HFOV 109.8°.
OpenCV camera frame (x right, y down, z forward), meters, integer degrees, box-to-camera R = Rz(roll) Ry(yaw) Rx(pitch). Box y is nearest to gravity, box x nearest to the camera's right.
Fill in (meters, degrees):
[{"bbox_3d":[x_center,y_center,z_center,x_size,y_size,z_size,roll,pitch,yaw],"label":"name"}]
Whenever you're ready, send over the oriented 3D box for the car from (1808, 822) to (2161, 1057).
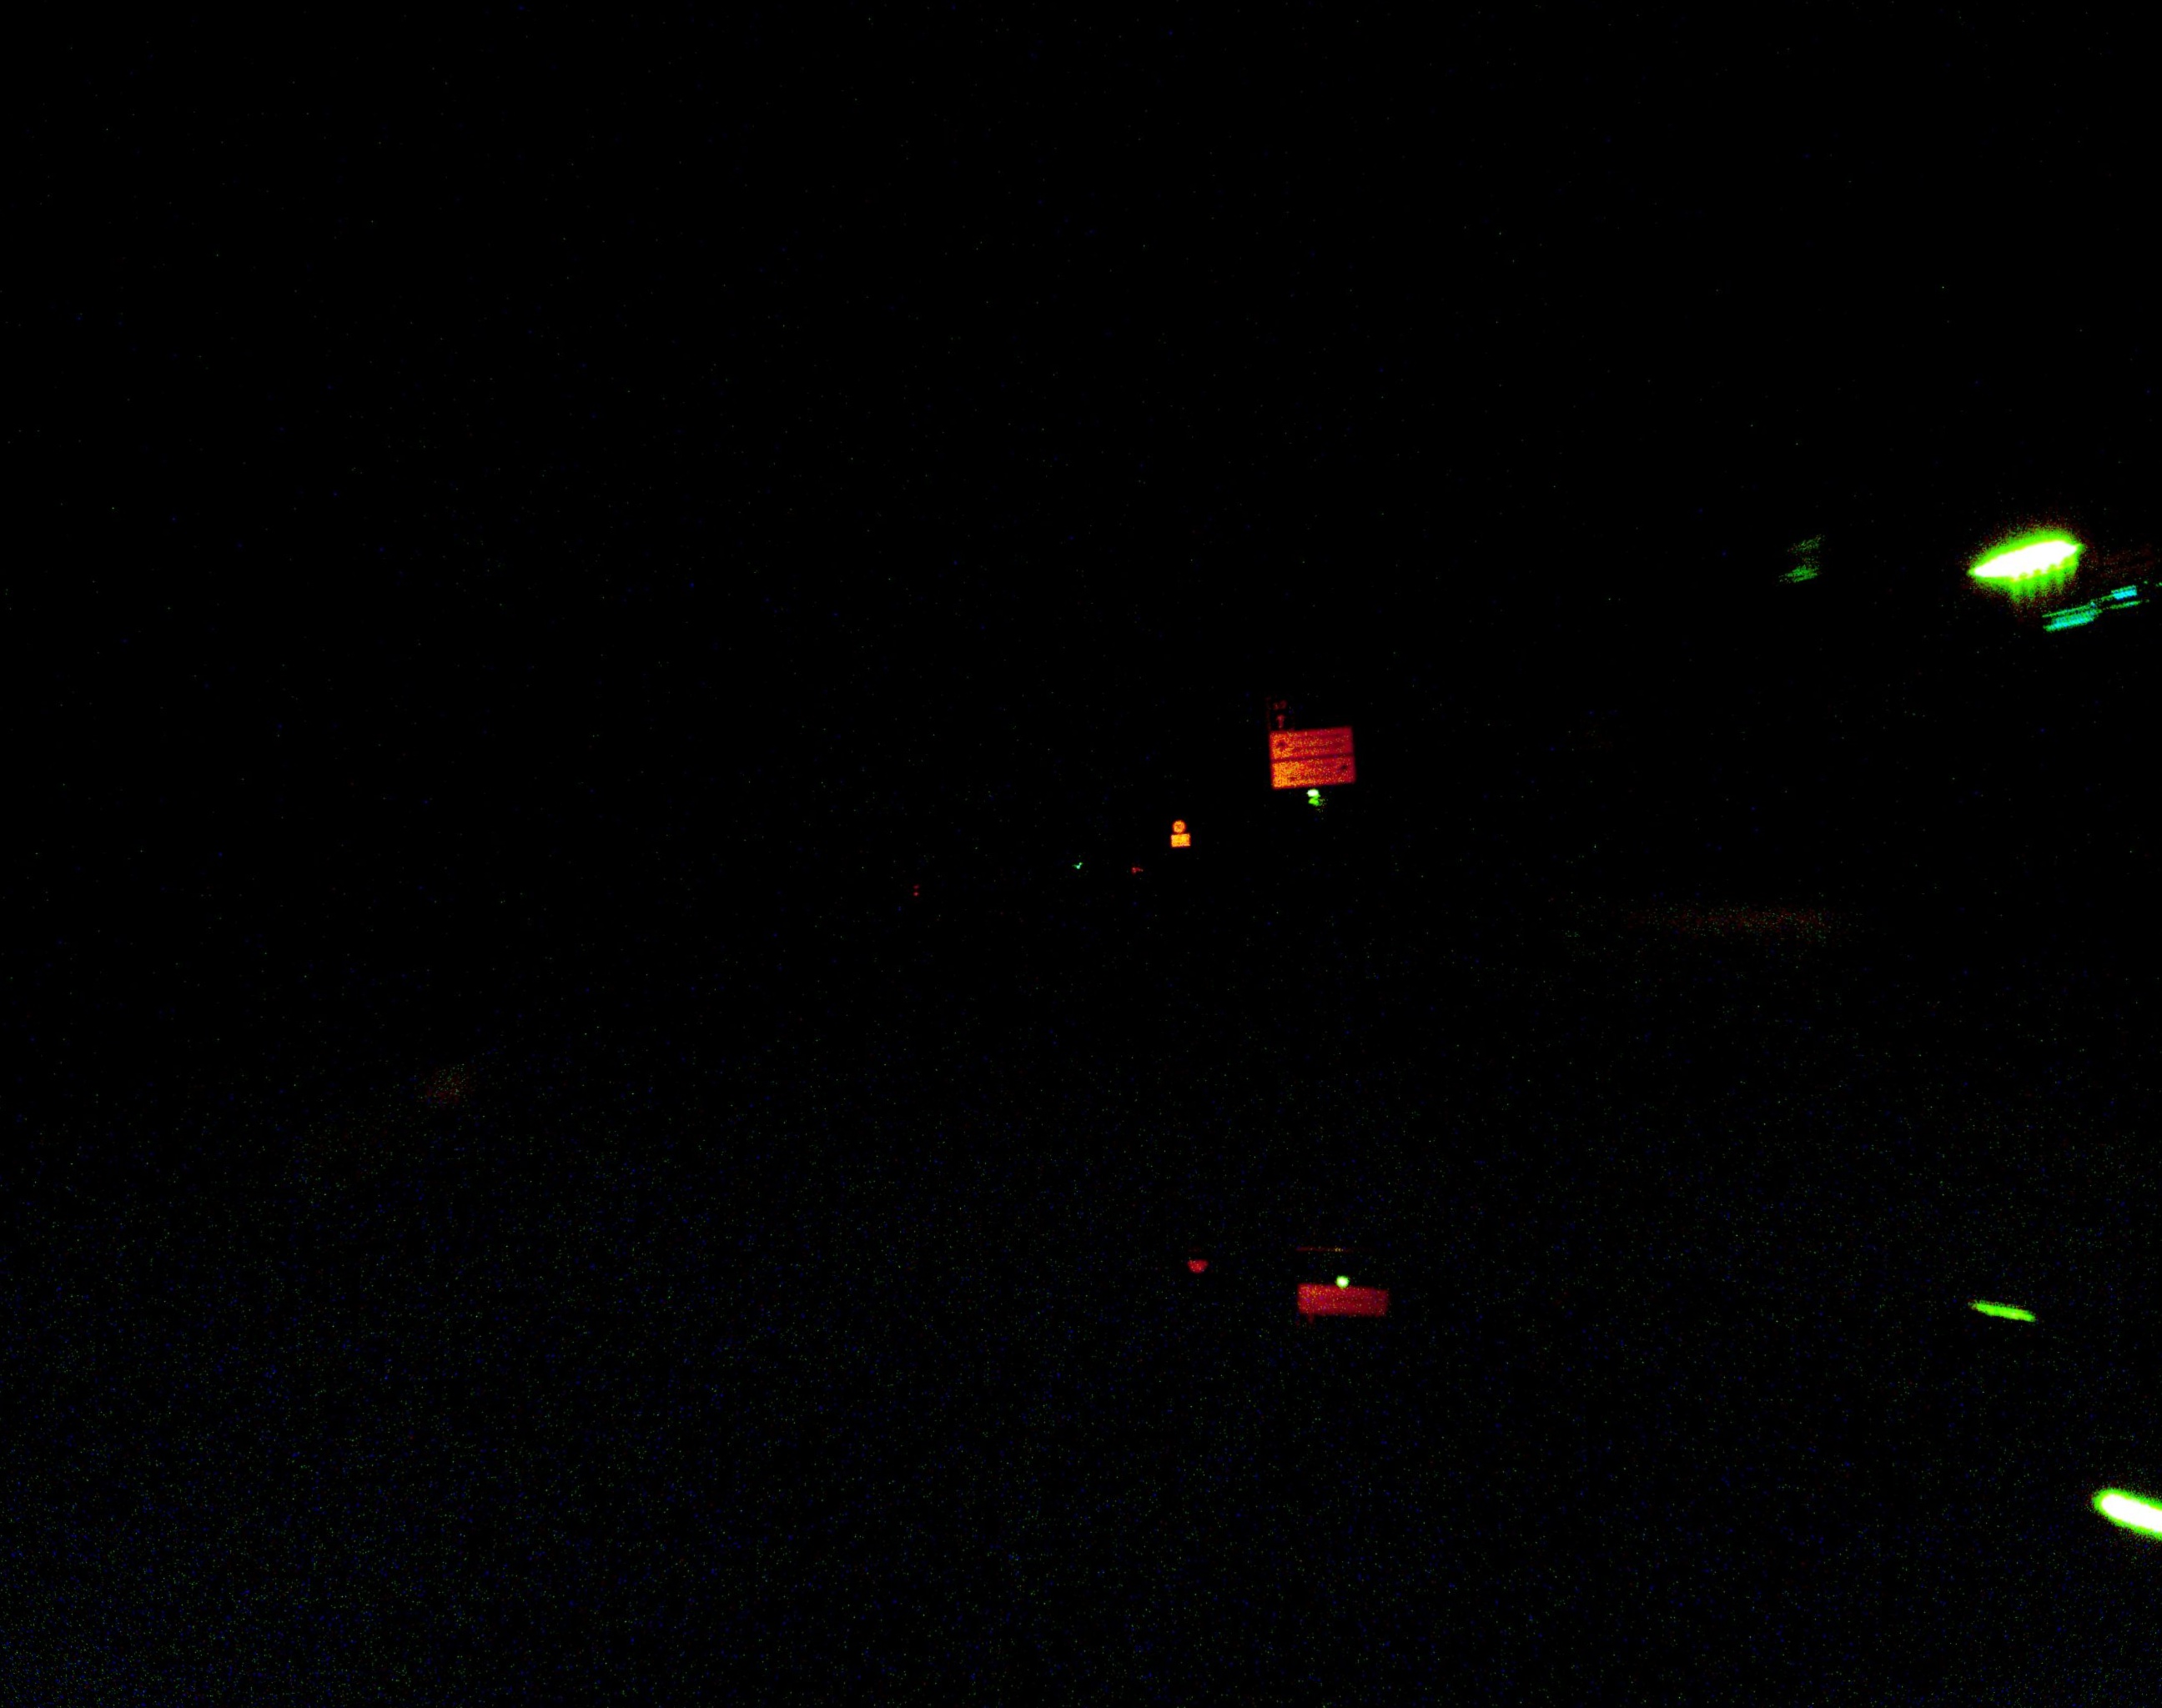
[{"bbox_3d":[7.515,0.488,4.388,1.999,1.371,4.596,-3,0,-4],"label":"car"}]
